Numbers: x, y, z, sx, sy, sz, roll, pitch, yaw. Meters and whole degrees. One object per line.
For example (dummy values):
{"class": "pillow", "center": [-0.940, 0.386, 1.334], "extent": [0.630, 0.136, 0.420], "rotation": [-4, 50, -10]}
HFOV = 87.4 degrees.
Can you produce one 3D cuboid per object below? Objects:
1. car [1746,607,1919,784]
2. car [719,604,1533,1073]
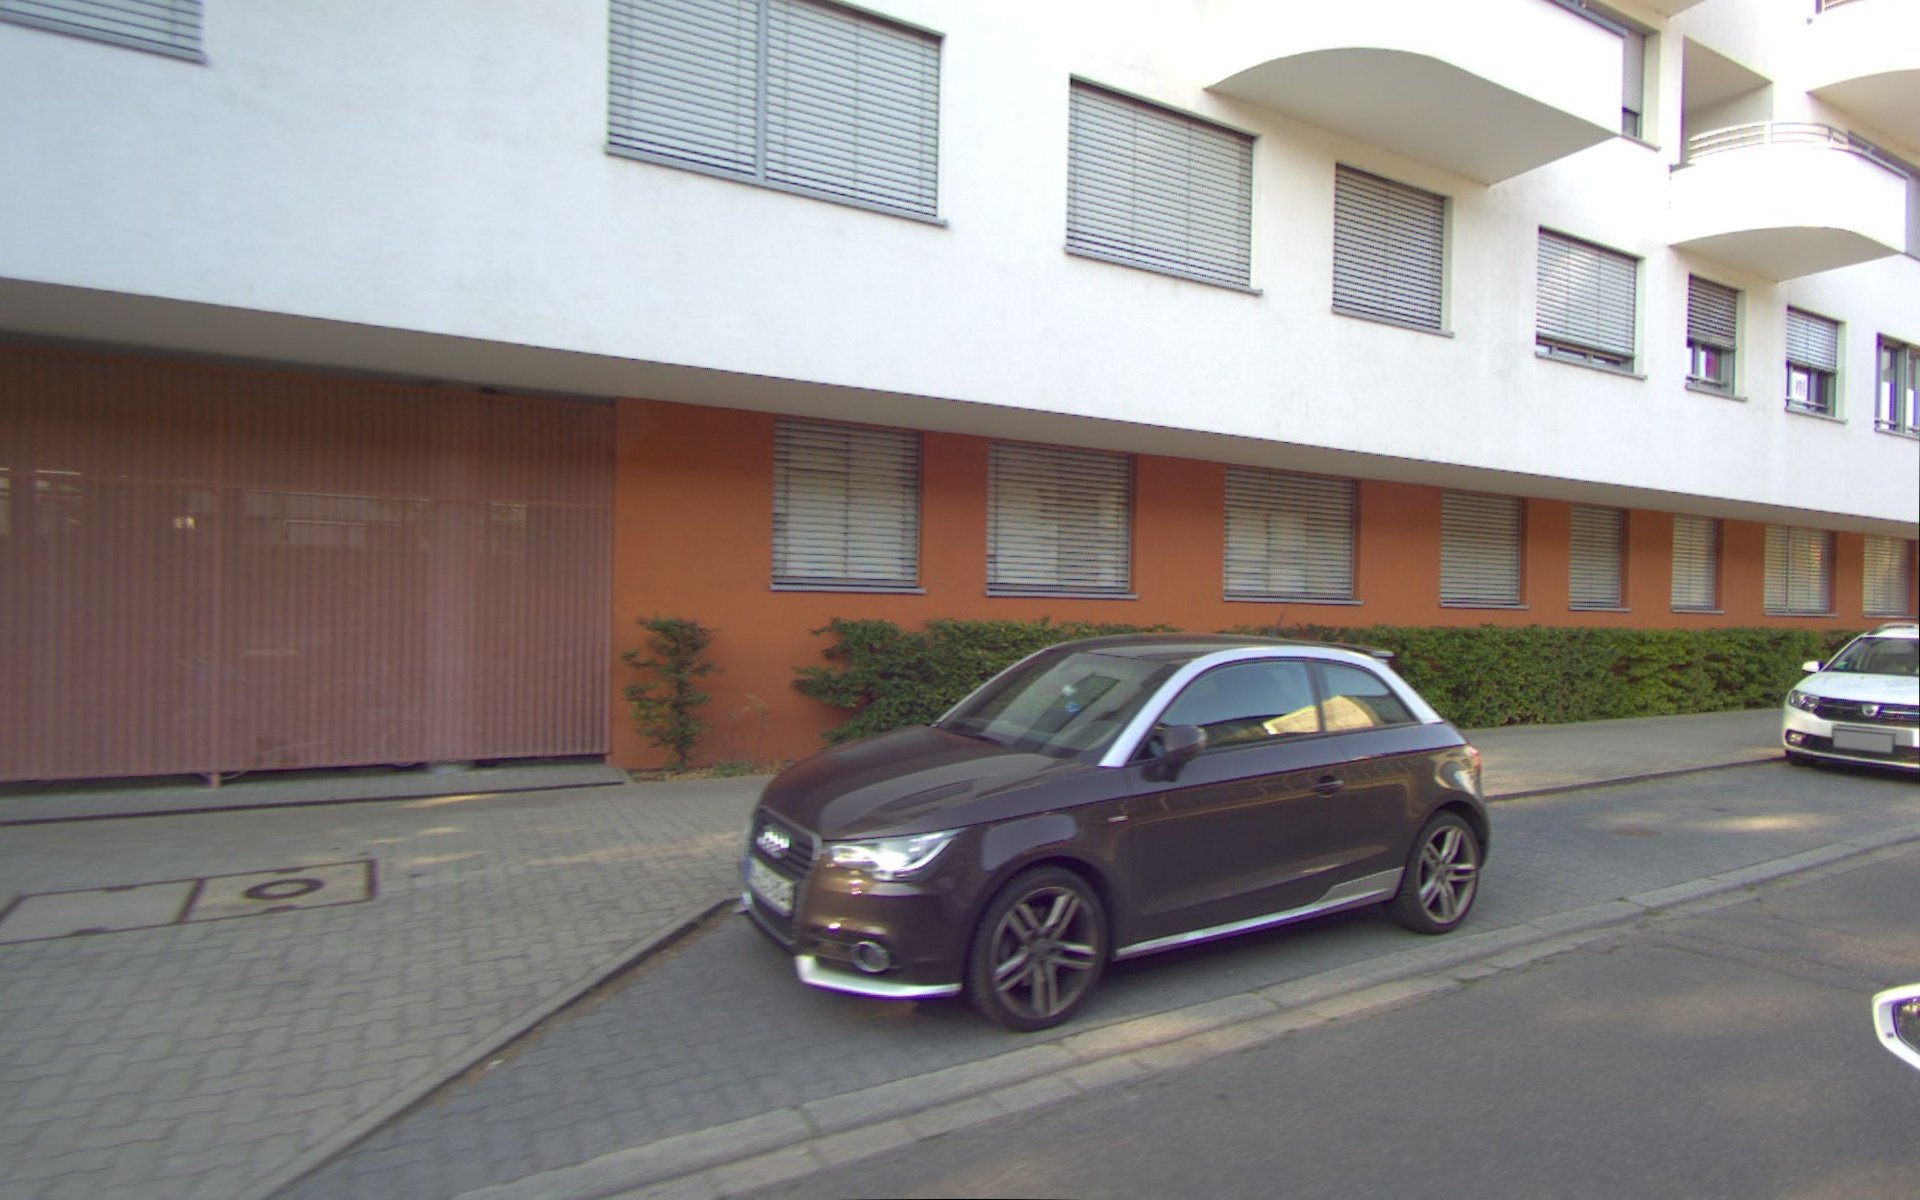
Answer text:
{"class": "car", "center": [10.775, 0.977, 11.097], "extent": [4.571, 1.608, 1.847], "rotation": [2, 2, -33]}
{"class": "car", "center": [0.909, 0.832, 4.944], "extent": [3.728, 1.452, 1.666], "rotation": [2, 2, -31]}
